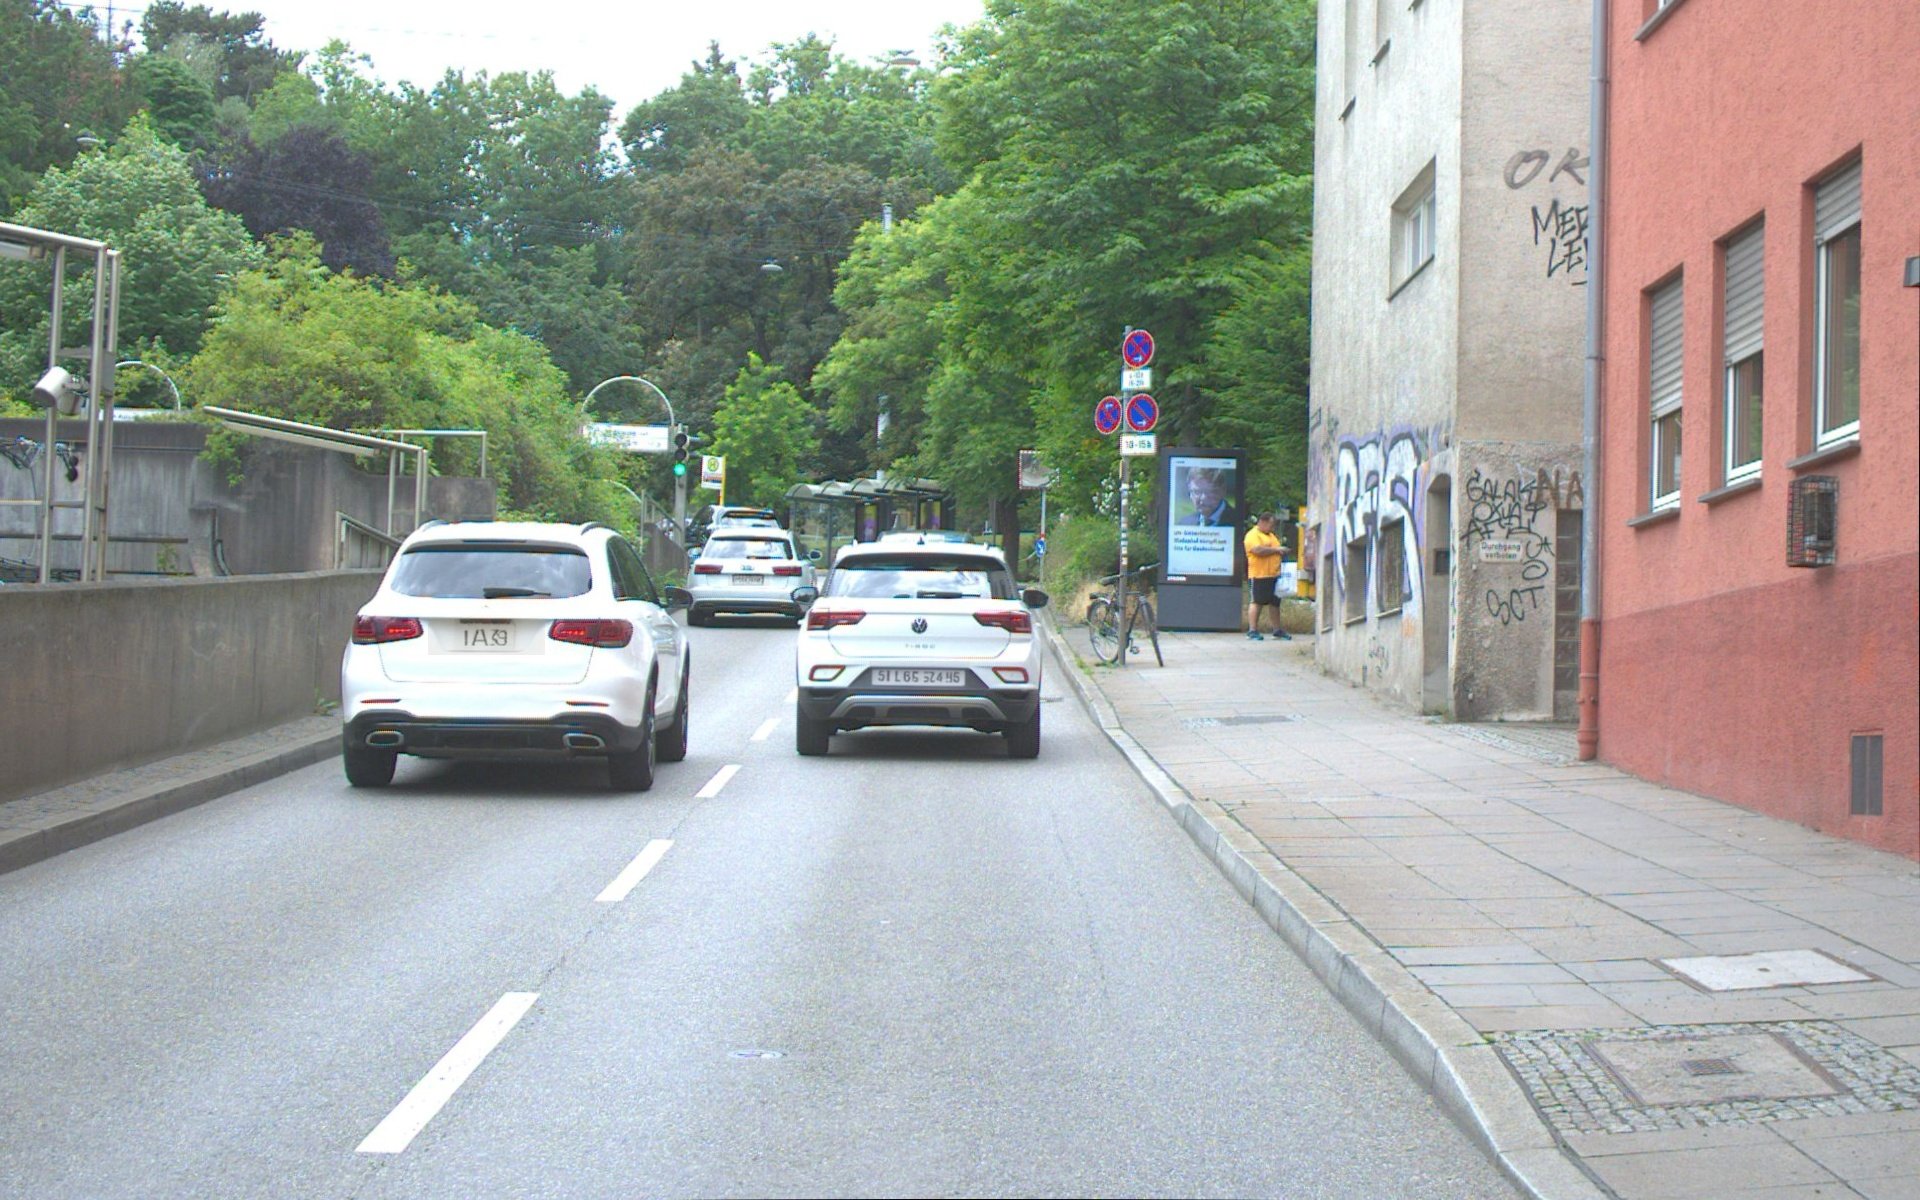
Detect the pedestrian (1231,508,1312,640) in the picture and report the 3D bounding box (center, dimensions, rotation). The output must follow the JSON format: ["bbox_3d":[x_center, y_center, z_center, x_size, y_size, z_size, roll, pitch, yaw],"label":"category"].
[{"bbox_3d":[4.072,-0.342,44.970,0.832,1.706,0.822,0,1,-14],"label":"pedestrian"}]

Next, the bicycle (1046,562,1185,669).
[{"bbox_3d":[1.696,0.159,37.946,0.638,1.139,2.066,1,1,-25],"label":"bicycle"}]

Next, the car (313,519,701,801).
[{"bbox_3d":[-2.805,0.317,22.218,1.877,1.646,4.341,0,1,1],"label":"car"}]

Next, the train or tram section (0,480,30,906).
[{"bbox_3d":[-9.266,0.674,22.506,2.949,3.497,12.986,1,-1,-1],"label":"train or tram section"}]

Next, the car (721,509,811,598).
[{"bbox_3d":[-4.326,-1.052,77.256,1.749,1.875,4.000,3,1,-1],"label":"car"}]

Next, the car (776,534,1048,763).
[{"bbox_3d":[-0.300,0.309,25.860,1.865,1.551,3.894,1,1,1],"label":"car"}]

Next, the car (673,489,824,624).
[{"bbox_3d":[-3.168,-0.668,52.216,1.993,1.875,4.000,3,1,-1],"label":"car"}]

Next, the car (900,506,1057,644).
[{"bbox_3d":[0.231,-0.339,43.802,1.861,1.626,3.959,2,1,0],"label":"car"}]
